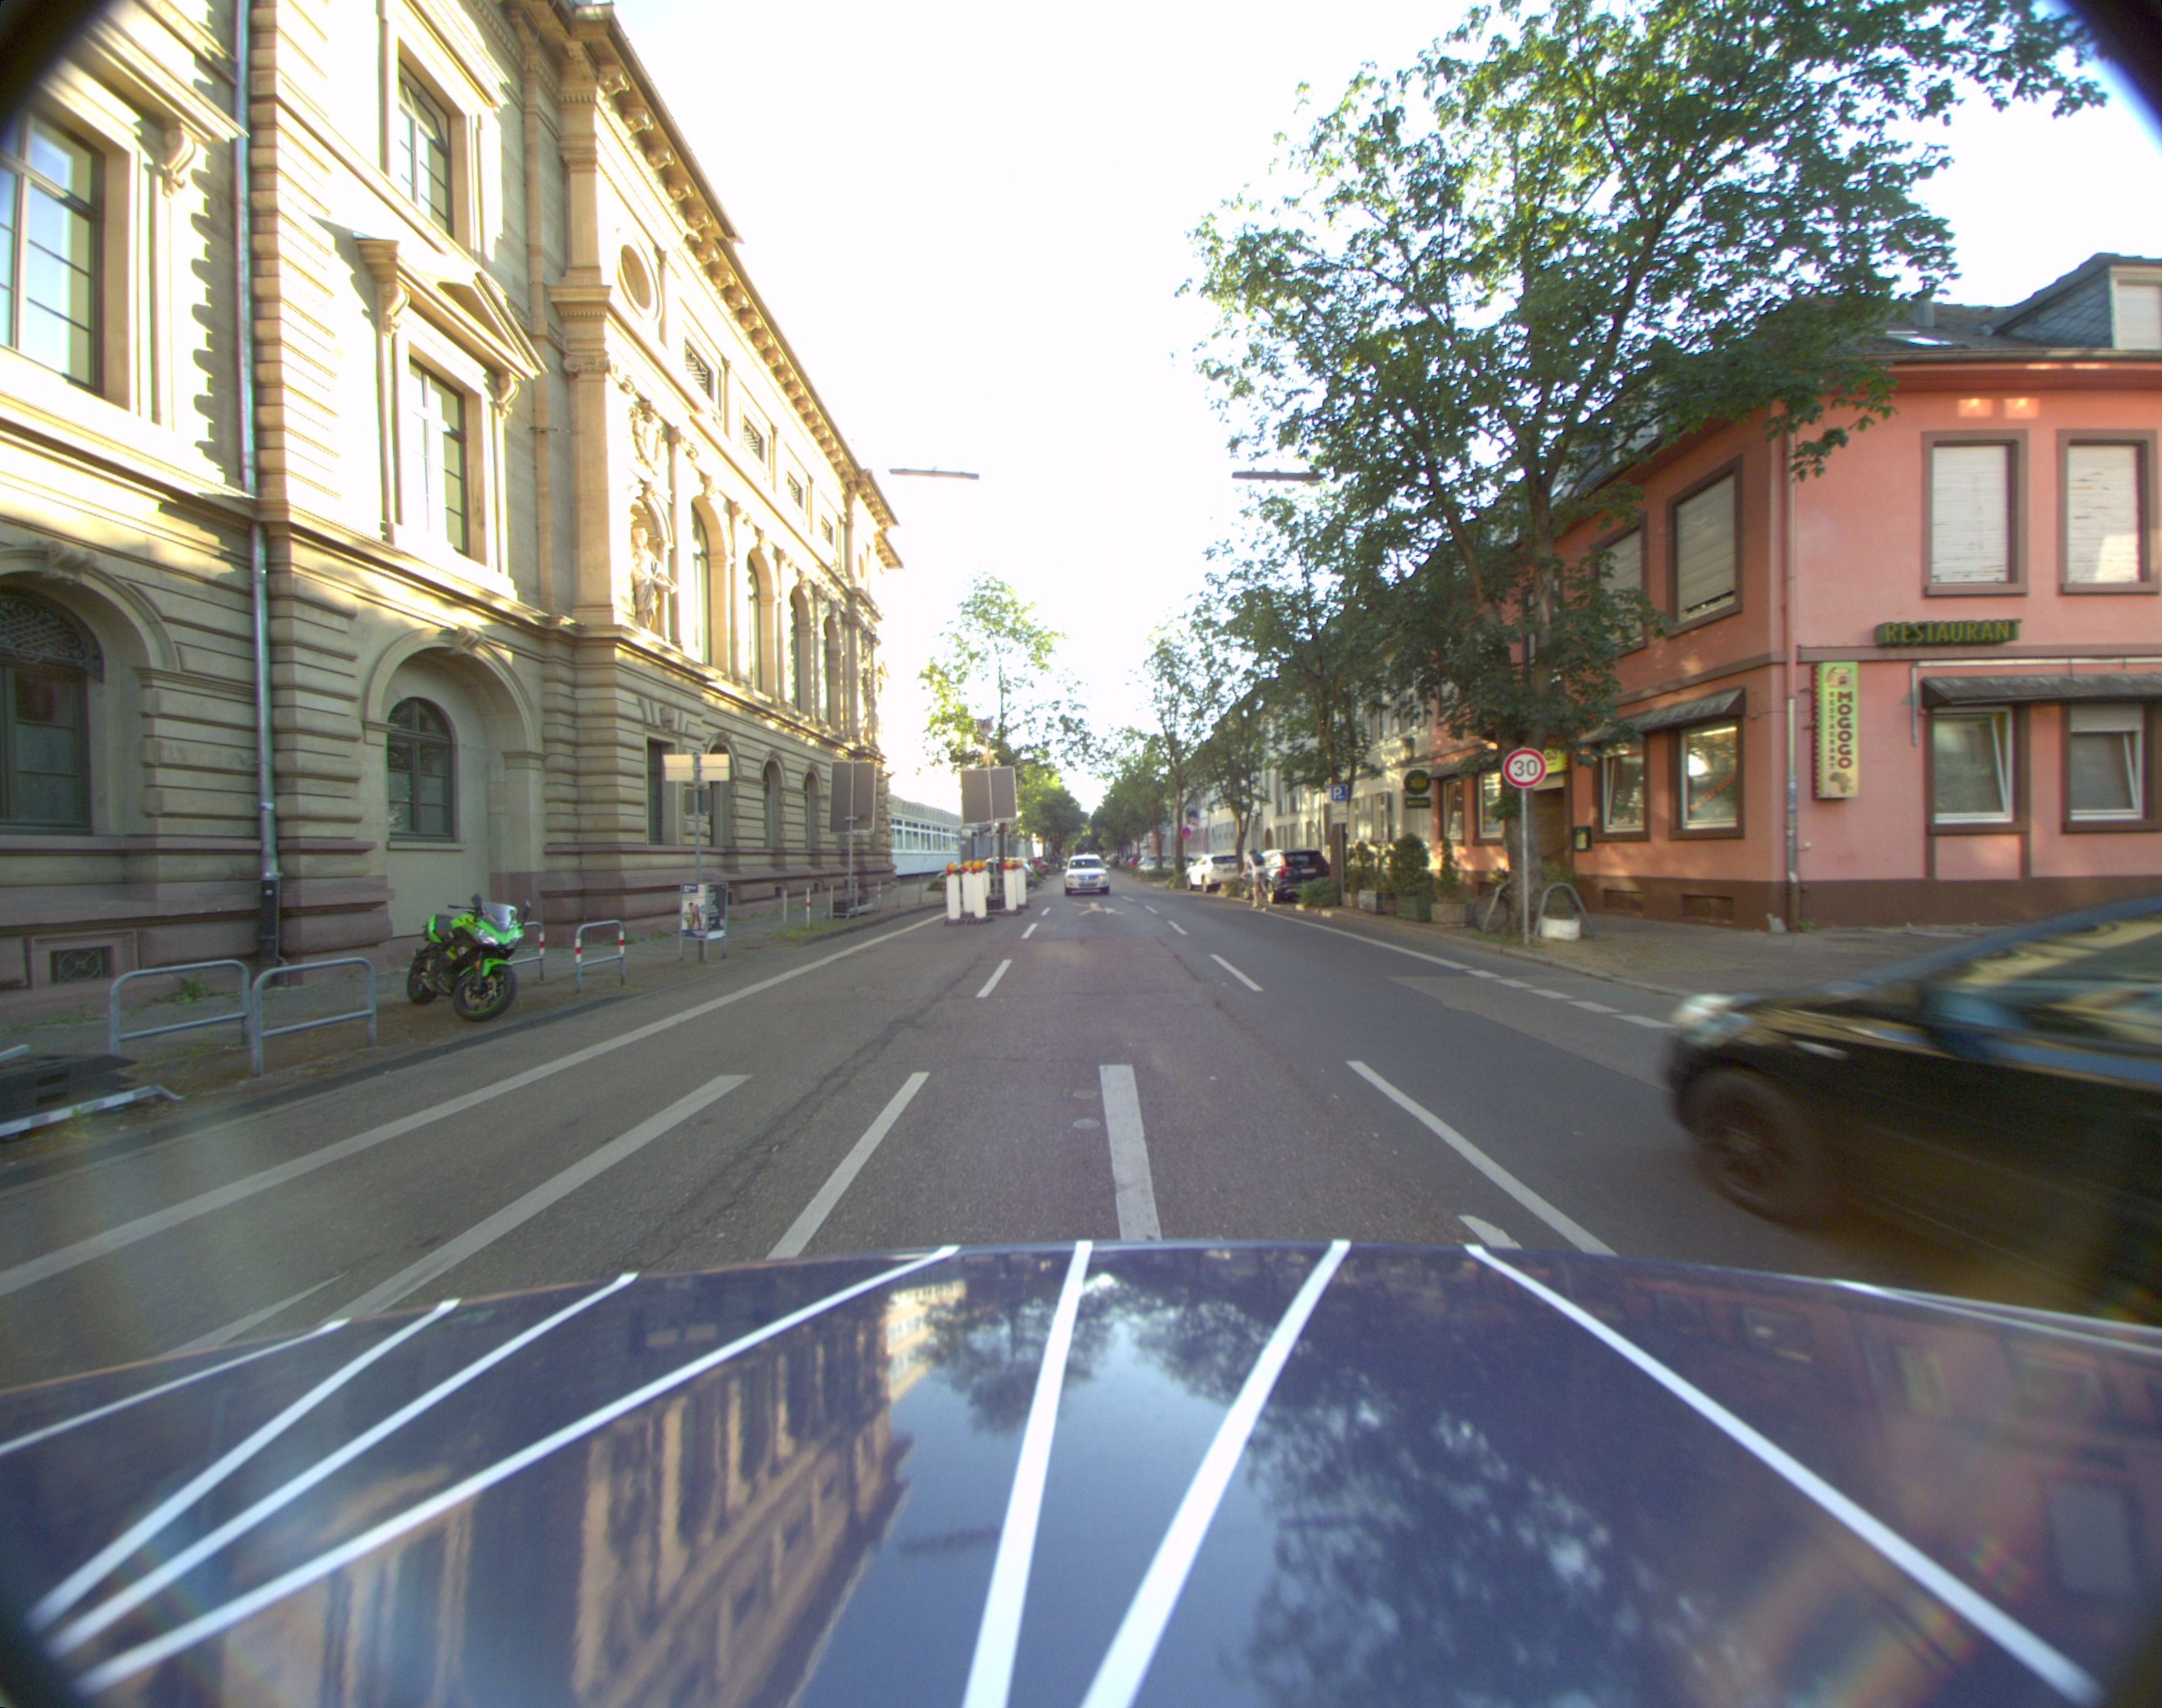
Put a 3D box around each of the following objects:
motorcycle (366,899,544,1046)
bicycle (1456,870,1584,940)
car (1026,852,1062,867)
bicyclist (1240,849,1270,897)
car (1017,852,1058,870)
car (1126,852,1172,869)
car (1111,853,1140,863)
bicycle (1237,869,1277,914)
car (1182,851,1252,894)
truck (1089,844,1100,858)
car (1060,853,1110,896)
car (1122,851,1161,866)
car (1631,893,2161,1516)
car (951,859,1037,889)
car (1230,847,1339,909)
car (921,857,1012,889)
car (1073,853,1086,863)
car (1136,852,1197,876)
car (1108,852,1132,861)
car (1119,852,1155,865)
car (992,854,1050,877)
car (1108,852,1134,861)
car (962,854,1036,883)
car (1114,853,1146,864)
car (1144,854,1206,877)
[{"bbox_3d":[-6.421,1.129,7.760,2.098,1.208,0.711,1,1,30],"label":"motorcycle"},{"bbox_3d":[7.493,0.852,12.991,1.872,1.098,0.610,-1,1,-6],"label":"bicycle"},{"bbox_3d":[-4.511,0.655,92.650,4.369,1.862,1.733,0,0,-2],"label":"car"},{"bbox_3d":[5.073,0.535,22.137,0.627,1.357,0.929,-1,2,-2],"label":"bicyclist"},{"bbox_3d":[-4.612,0.742,81.012,4.369,1.768,1.733,1,0,-2],"label":"car"},{"bbox_3d":[6.609,0.637,74.212,4.230,1.499,1.800,-1,0,-2],"label":"car"},{"bbox_3d":[6.776,0.560,116.369,4.230,1.468,1.969,-1,0,-2],"label":"car"},{"bbox_3d":[5.095,1.073,22.131,0.626,1.149,2.051,-1,2,-1],"label":"bicycle"},{"bbox_3d":[6.083,0.782,34.553,1.833,1.658,4.654,-5,1,-6],"label":"car"},{"bbox_3d":[3.750,-0.926,211.573,2.748,3.723,7.855,-1,0,2],"label":"truck"},{"bbox_3d":[0.193,0.817,32.891,1.957,1.667,4.542,-1,0,1],"label":"car"},{"bbox_3d":[7.031,0.549,88.431,4.230,1.654,1.800,-1,0,-2],"label":"car"},{"bbox_3d":[3.503,0.903,1.818,1.662,1.463,3.854,0,-1,2],"label":"car"},{"bbox_3d":[-4.591,1.050,40.700,4.368,1.486,1.672,1,1,0],"label":"car"},{"bbox_3d":[6.810,0.740,26.120,1.833,1.749,5.046,-5,1,-6],"label":"car"},{"bbox_3d":[-5.672,0.955,38.076,4.369,1.455,1.833,1,1,-4],"label":"car"},{"bbox_3d":[-0.310,0.580,121.157,1.951,1.546,3.999,-1,0,-1],"label":"car"},{"bbox_3d":[6.244,0.702,56.030,4.230,1.680,1.800,-1,0,-2],"label":"car"},{"bbox_3d":[7.150,0.455,138.848,4.230,1.508,1.969,-1,0,-2],"label":"car"},{"bbox_3d":[6.827,0.599,93.088,4.230,1.509,1.759,-1,0,-2],"label":"car"},{"bbox_3d":[-4.550,0.866,58.090,4.369,1.615,1.733,1,0,-2],"label":"car"},{"bbox_3d":[6.876,0.484,130.358,4.230,1.468,1.969,-1,0,-2],"label":"car"},{"bbox_3d":[-5.032,0.869,47.167,4.369,1.633,2.054,1,0,-2],"label":"car"},{"bbox_3d":[6.691,0.632,103.897,4.230,1.468,1.853,-1,0,-2],"label":"car"},{"bbox_3d":[6.547,0.810,53.294,4.228,1.536,1.801,-1,0,3],"label":"car"}]
